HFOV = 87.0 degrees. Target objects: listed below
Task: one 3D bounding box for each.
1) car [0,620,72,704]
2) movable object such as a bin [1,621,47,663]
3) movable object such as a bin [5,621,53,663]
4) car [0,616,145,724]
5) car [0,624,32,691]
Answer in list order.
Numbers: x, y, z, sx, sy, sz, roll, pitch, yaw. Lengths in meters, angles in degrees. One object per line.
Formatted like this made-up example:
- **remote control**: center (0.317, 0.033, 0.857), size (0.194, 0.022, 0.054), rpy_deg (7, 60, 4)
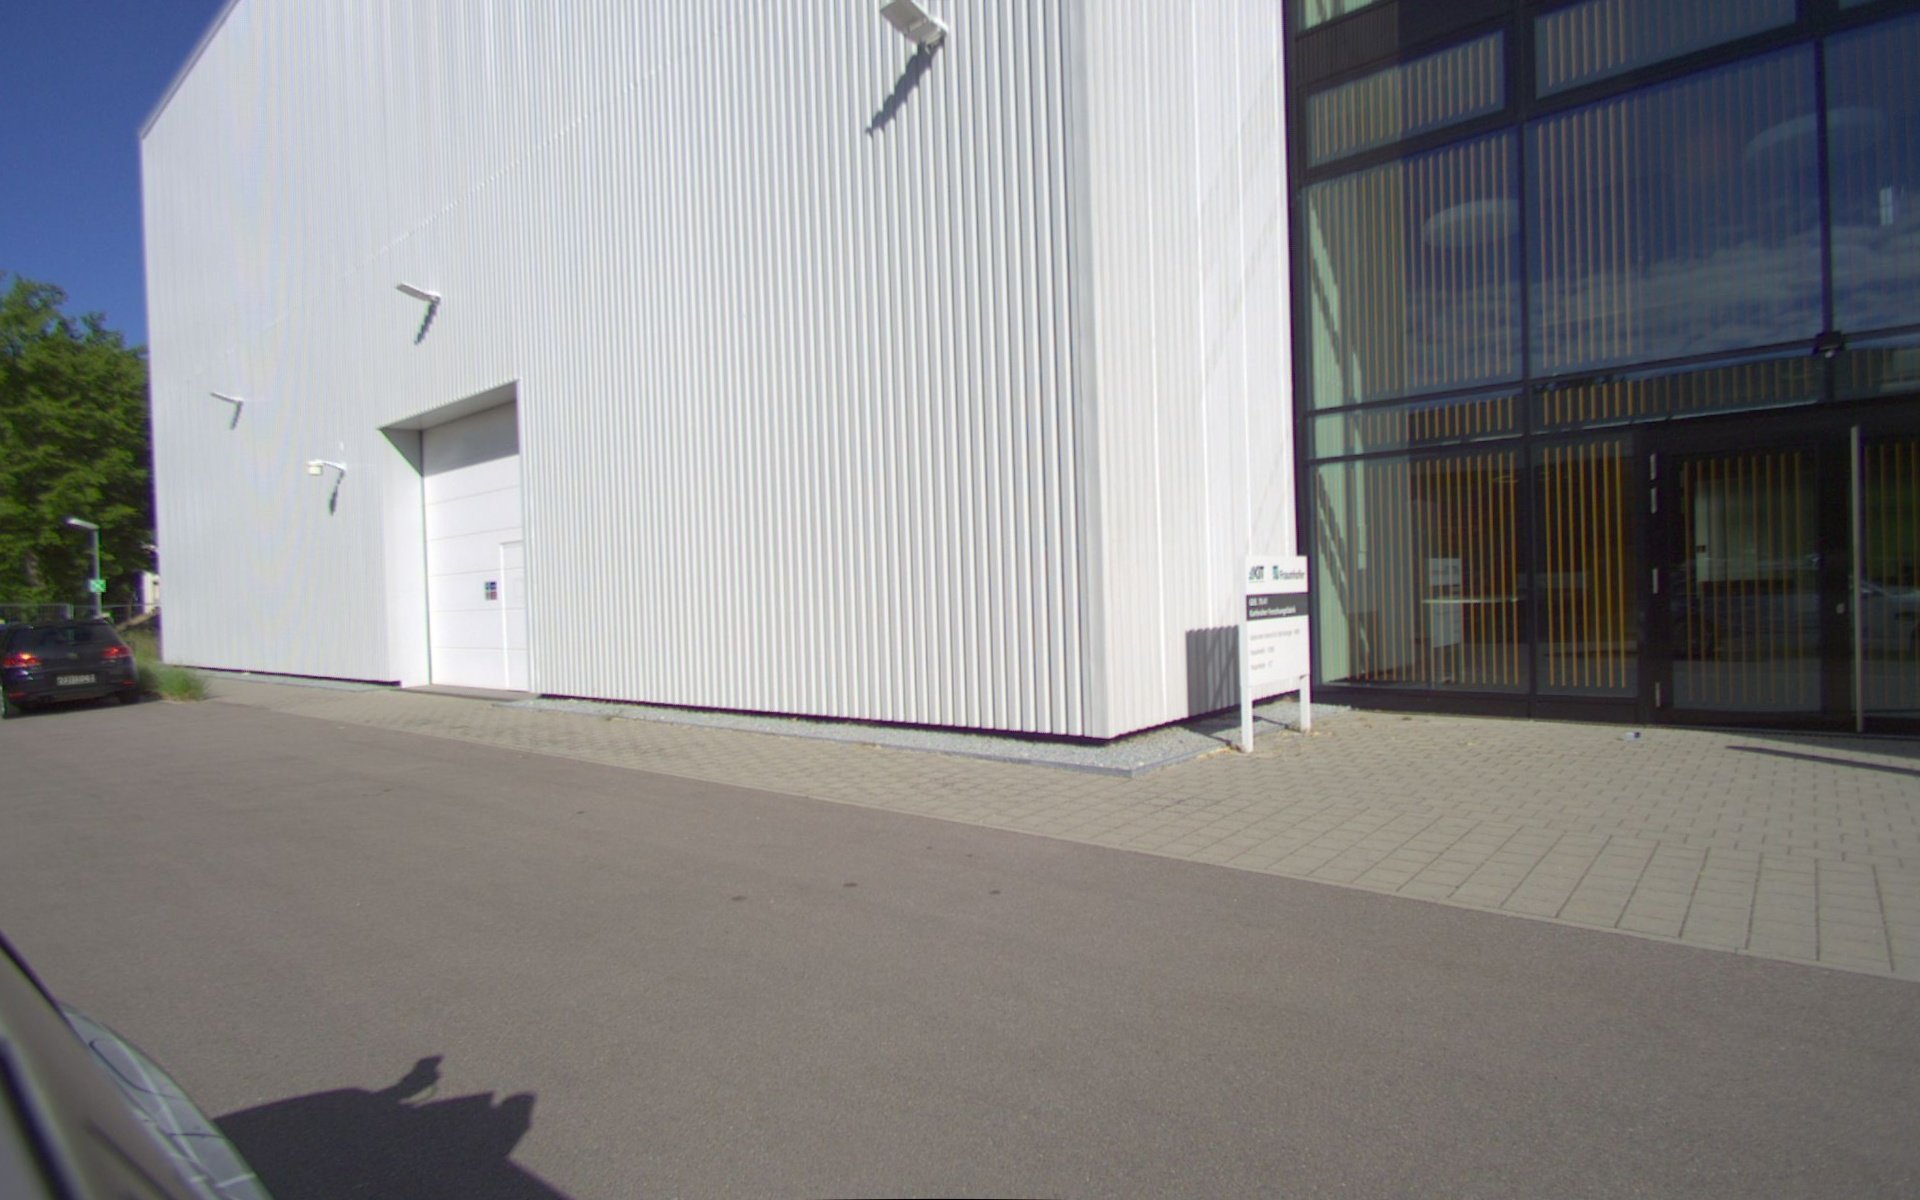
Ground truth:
- **car**: center (-18.992, 1.227, 20.020), size (3.518, 1.499, 1.533), rpy_deg (-3, 1, 39)
- **movable object such as a bin**: center (-34.228, 1.535, 37.011), size (1.279, 1.489, 1.126), rpy_deg (-3, -2, 41)
- **movable object such as a bin**: center (-33.211, 1.498, 36.104), size (1.288, 1.445, 1.126), rpy_deg (-2, -2, 41)
- **car**: center (-15.327, 1.120, 17.013), size (4.312, 1.456, 1.738), rpy_deg (-2, 2, 41)
- **car**: center (-23.181, 1.391, 23.593), size (3.794, 1.459, 1.695), rpy_deg (-3, 1, 39)
